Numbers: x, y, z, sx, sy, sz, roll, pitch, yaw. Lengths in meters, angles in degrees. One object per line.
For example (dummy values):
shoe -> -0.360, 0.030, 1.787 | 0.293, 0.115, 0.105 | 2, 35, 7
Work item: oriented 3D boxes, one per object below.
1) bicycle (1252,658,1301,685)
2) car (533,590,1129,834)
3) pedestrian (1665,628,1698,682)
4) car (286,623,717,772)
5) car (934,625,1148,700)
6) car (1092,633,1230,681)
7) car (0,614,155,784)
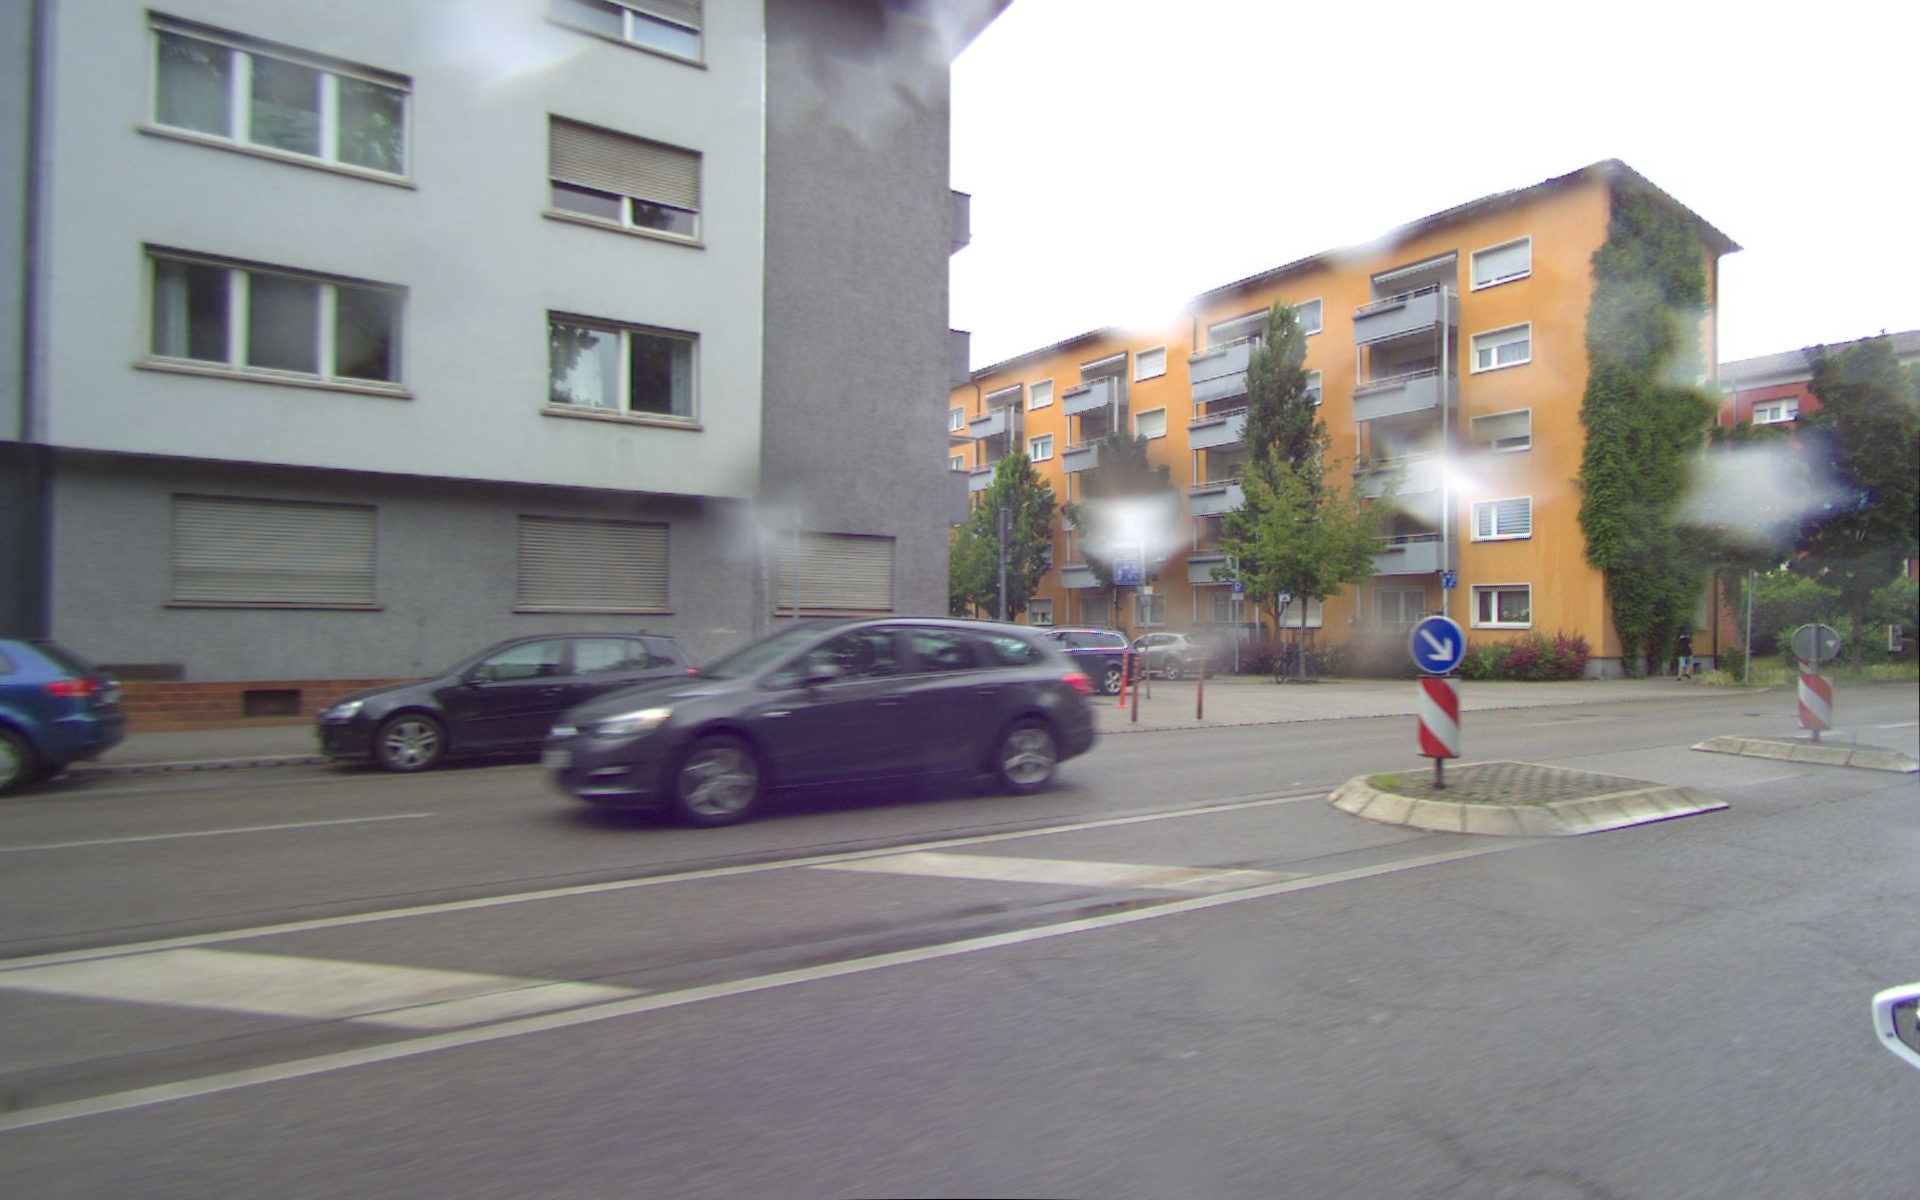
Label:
bicycle -> 9.190, 2.064, 29.117 | 1.528, 0.759, 0.462 | 1, -2, -31
car -> -0.915, 0.790, 8.321 | 4.599, 1.523, 1.778 | 2, -3, -33
pedestrian -> 22.188, 1.690, 30.880 | 0.653, 1.625, 0.583 | 1, -3, -30
car -> -5.160, 1.041, 11.614 | 4.275, 1.444, 1.704 | 2, -4, -32
car -> 1.752, 1.292, 21.236 | 4.362, 1.451, 1.714 | 1, -3, -31
car -> 6.814, 1.935, 34.484 | 1.862, 1.523, 4.600 | 2, -3, -37
car -> -9.824, 0.880, 8.698 | 4.229, 1.468, 1.672 | 2, -5, -33
